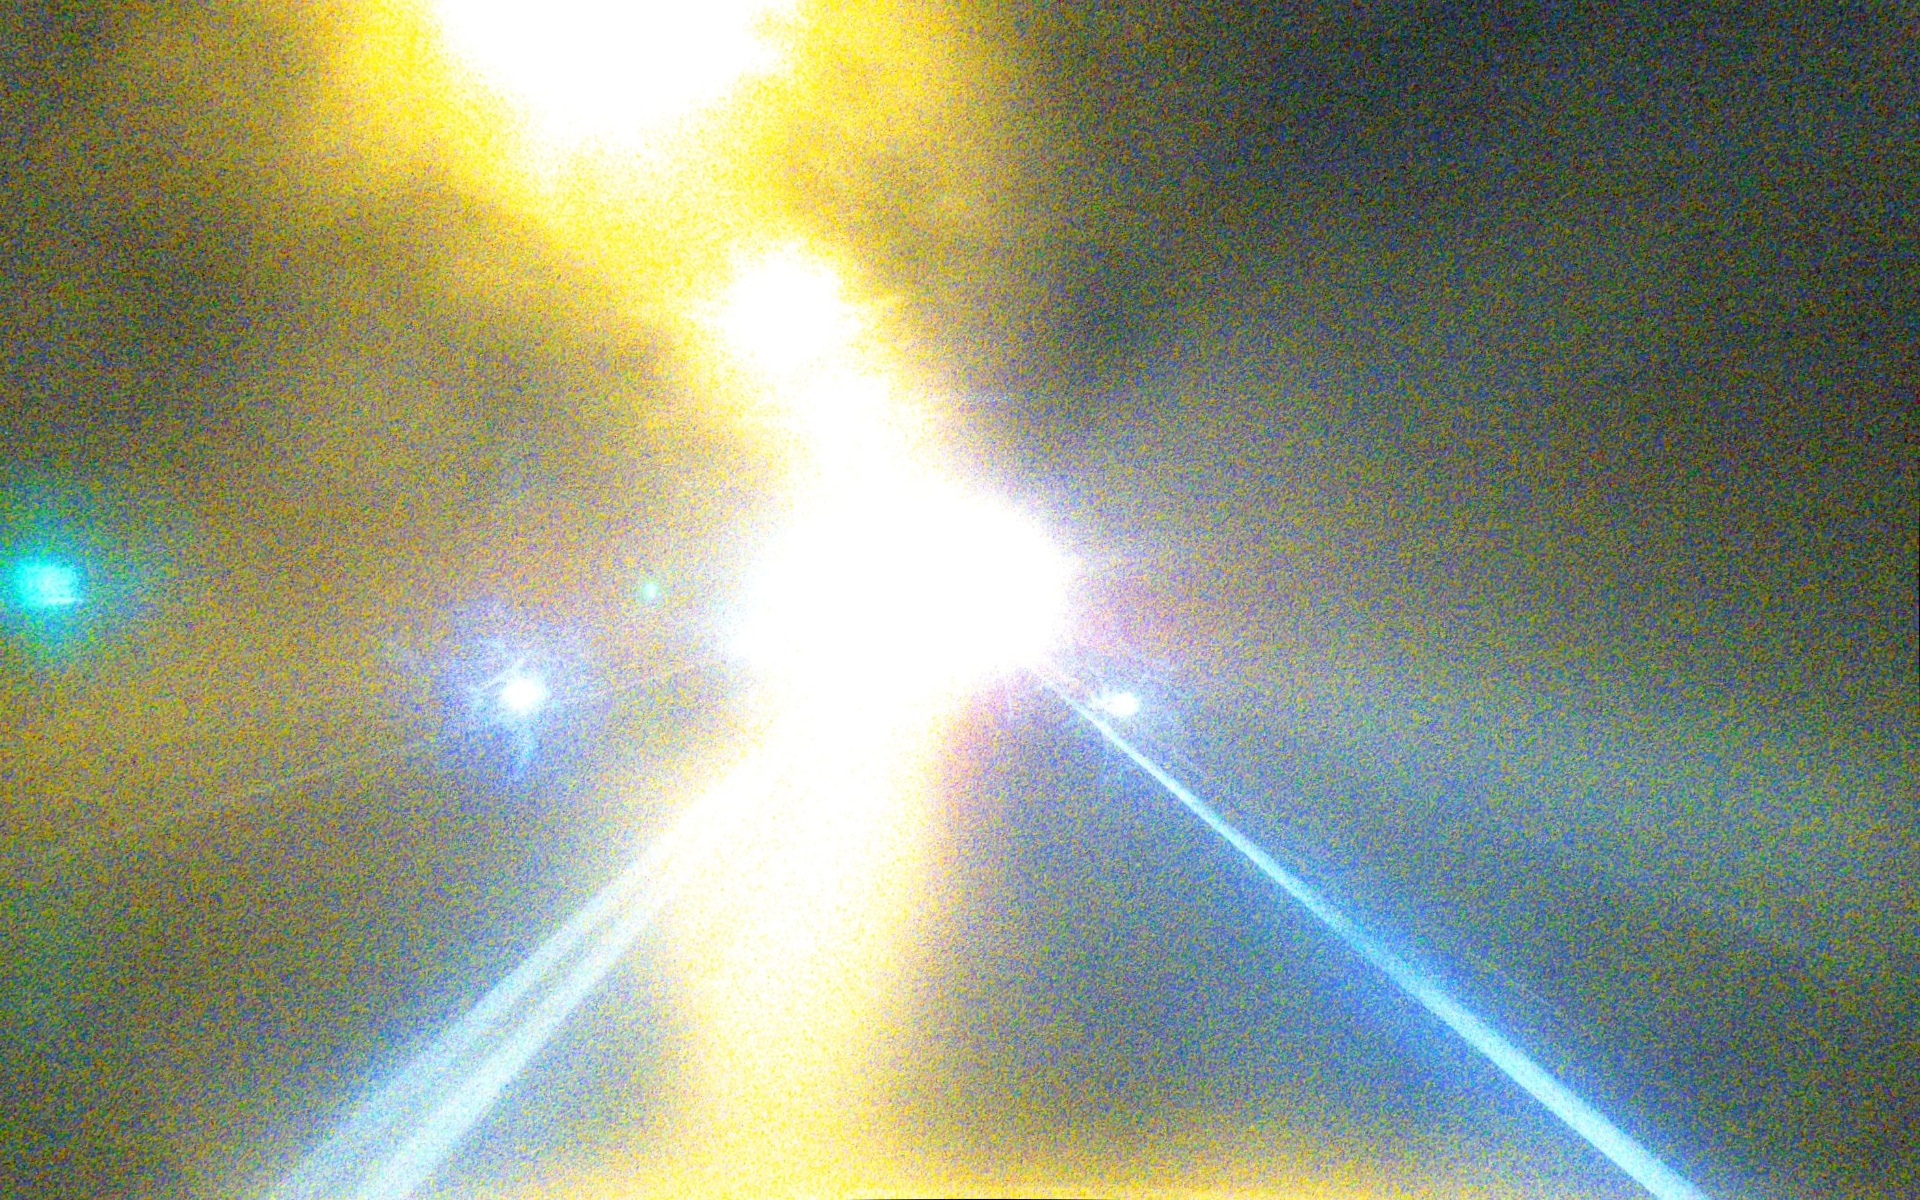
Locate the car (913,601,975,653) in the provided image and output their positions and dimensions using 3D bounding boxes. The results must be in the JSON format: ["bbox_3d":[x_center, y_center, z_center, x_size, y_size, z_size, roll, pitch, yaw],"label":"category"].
[{"bbox_3d":[-0.566,0.910,56.590,2.047,1.691,3.999,1,0,-1],"label":"car"}]
